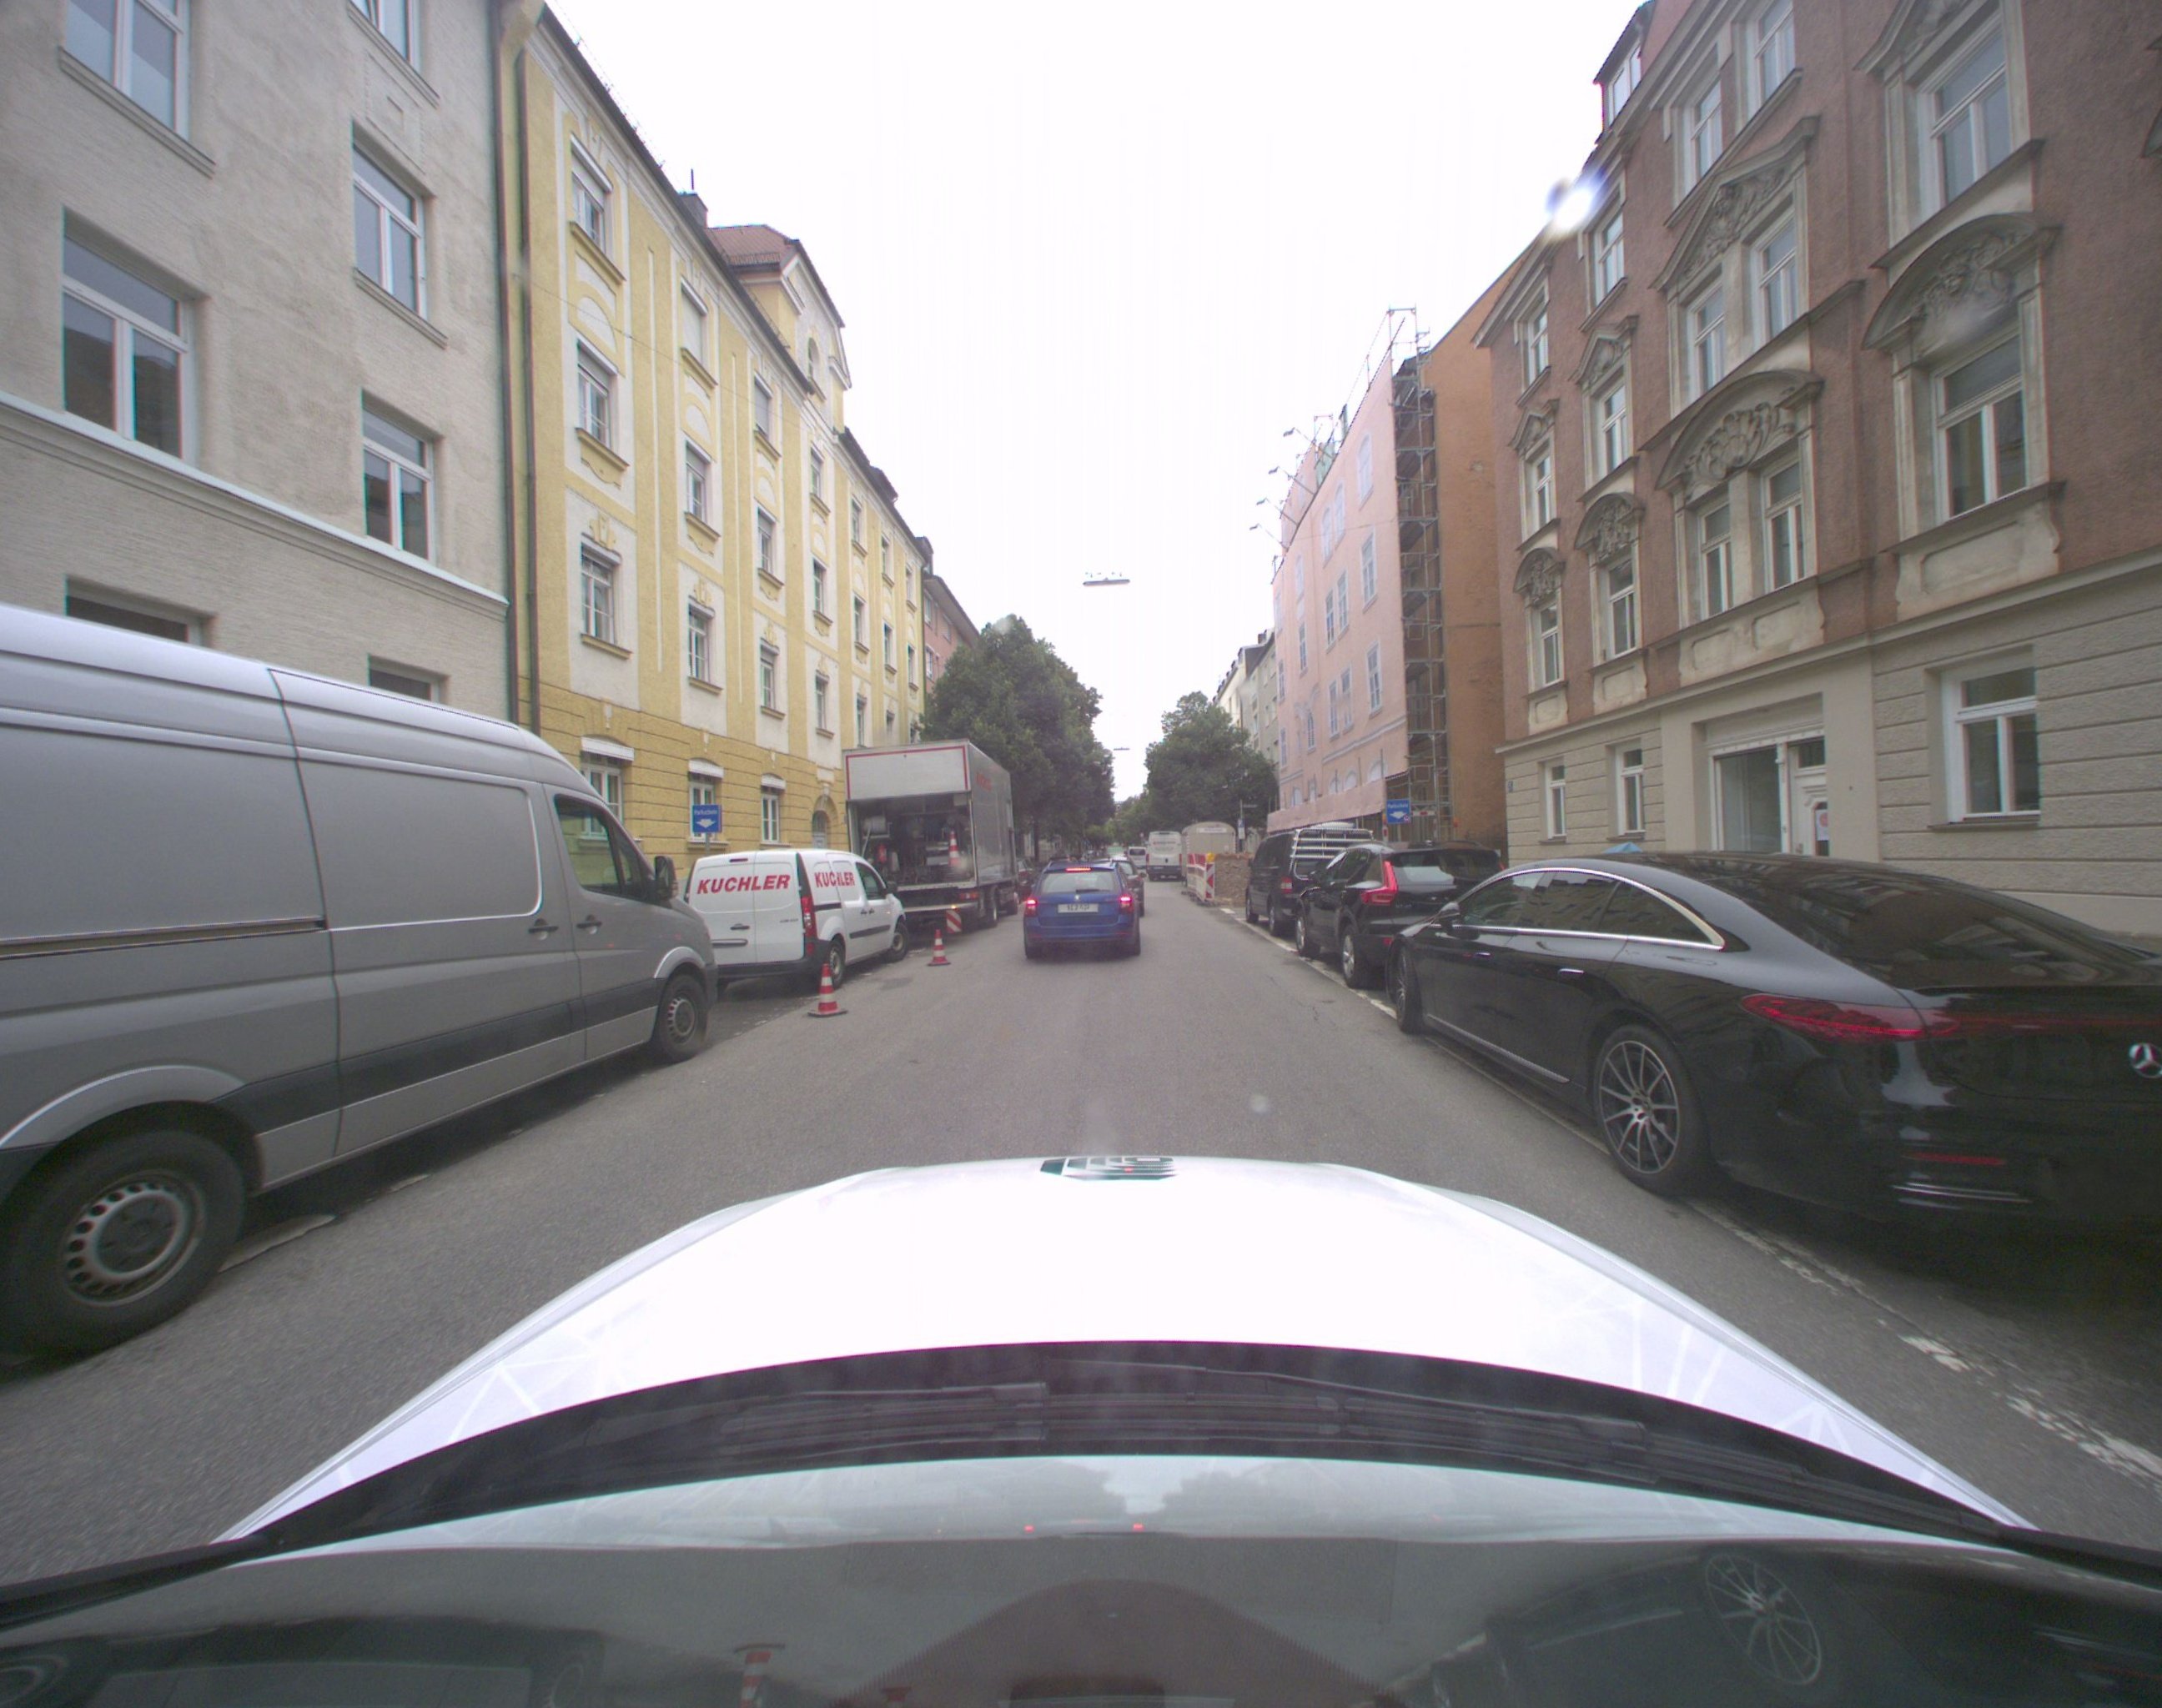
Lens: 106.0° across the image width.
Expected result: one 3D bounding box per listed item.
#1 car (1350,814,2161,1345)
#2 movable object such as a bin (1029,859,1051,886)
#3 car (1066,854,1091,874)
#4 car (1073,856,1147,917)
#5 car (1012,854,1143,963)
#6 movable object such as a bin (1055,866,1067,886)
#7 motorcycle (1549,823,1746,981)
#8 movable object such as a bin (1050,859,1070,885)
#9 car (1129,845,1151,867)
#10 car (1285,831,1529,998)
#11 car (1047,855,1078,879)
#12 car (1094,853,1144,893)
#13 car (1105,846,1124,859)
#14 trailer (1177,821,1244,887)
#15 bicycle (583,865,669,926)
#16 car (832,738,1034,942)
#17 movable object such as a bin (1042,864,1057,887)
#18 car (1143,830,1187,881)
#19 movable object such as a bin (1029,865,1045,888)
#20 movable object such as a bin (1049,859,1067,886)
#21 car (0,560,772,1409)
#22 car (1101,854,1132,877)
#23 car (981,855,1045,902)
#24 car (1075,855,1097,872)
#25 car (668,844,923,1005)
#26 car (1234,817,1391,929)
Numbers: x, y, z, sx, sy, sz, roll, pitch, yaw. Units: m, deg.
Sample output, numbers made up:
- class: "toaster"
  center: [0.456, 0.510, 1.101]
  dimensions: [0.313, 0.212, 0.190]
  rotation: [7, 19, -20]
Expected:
- class: "car"
  center: [3.506, 0.654, 5.206]
  dimensions: [1.923, 1.553, 5.640]
  rotation: [-1, 0, 2]
- class: "movable object such as a bin"
  center: [-2.248, 1.005, 44.907]
  dimensions: [1.078, 1.376, 1.083]
  rotation: [-4, 0, -1]
- class: "car"
  center: [-0.198, 0.781, 63.487]
  dimensions: [1.805, 1.478, 4.001]
  rotation: [-1, 0, 1]
- class: "car"
  center: [0.818, 0.783, 21.317]
  dimensions: [1.733, 1.422, 3.668]
  rotation: [-1, 0, 4]
- class: "car"
  center: [0.115, 0.773, 13.535]
  dimensions: [1.781, 1.460, 4.319]
  rotation: [-2, 0, 4]
- class: "movable object such as a bin"
  center: [-1.090, 1.170, 44.085]
  dimensions: [0.545, 1.020, 0.636]
  rotation: [-4, 0, 0]
- class: "motorcycle"
  center: [6.060, 0.468, 8.892]
  dimensions: [0.867, 1.505, 2.000]
  rotation: [-2, 0, 5]
- class: "movable object such as a bin"
  center: [-1.199, 1.021, 46.046]
  dimensions: [1.017, 1.376, 1.103]
  rotation: [-4, 0, -1]
- class: "car"
  center: [5.134, 0.185, 71.481]
  dimensions: [1.859, 1.870, 4.352]
  rotation: [0, 0, 4]
- class: "car"
  center: [3.899, 0.633, 10.579]
  dimensions: [1.686, 1.676, 4.413]
  rotation: [1, 0, 4]
- class: "car"
  center: [-1.139, 0.819, 52.777]
  dimensions: [1.805, 1.478, 4.001]
  rotation: [-1, 0, 1]
- class: "car"
  center: [1.506, 0.706, 32.319]
  dimensions: [1.860, 1.454, 4.350]
  rotation: [0, 0, 2]
- class: "car"
  center: [4.196, -0.190, 101.780]
  dimensions: [2.002, 1.653, 4.344]
  rotation: [-1, 0, -2]
- class: "trailer"
  center: [6.017, 0.013, 38.730]
  dimensions: [2.491, 2.840, 6.907]
  rotation: [-1, -1, 3]
- class: "bicycle"
  center: [-8.871, 0.773, 15.949]
  dimensions: [0.605, 1.104, 1.767]
  rotation: [-1, -1, 3]
- class: "car"
  center: [-3.103, -0.255, 20.012]
  dimensions: [2.801, 3.817, 8.730]
  rotation: [-2, 0, 3]
- class: "movable object such as a bin"
  center: [-1.709, 1.169, 44.050]
  dimensions: [0.709, 1.148, 0.636]
  rotation: [-4, 0, 0]
- class: "car"
  center: [4.804, 0.092, 45.890]
  dimensions: [2.100, 2.664, 5.514]
  rotation: [0, -1, 9]
- class: "movable object such as a bin"
  center: [-2.376, 1.212, 44.023]
  dimensions: [0.718, 1.138, 0.658]
  rotation: [-4, 0, 0]
- class: "movable object such as a bin"
  center: [-1.252, 1.007, 44.948]
  dimensions: [0.915, 1.376, 1.079]
  rotation: [-4, 0, -1]
- class: "car"
  center: [-4.239, 0.456, 4.262]
  dimensions: [2.047, 2.587, 6.882]
  rotation: [-6, 0, 3]
- class: "car"
  center: [2.322, 0.693, 52.508]
  dimensions: [1.859, 1.348, 4.351]
  rotation: [0, 0, 3]
- class: "car"
  center: [-2.568, 0.894, 31.671]
  dimensions: [1.777, 1.628, 4.190]
  rotation: [-3, 0, 4]
- class: "car"
  center: [0.475, 0.881, 75.520]
  dimensions: [1.804, 1.478, 4.004]
  rotation: [-1, 0, 3]
- class: "car"
  center: [-3.762, 0.834, 11.674]
  dimensions: [1.755, 1.779, 4.332]
  rotation: [-4, 0, 4]
- class: "car"
  center: [4.453, 0.440, 16.589]
  dimensions: [2.073, 1.921, 5.145]
  rotation: [-1, -3, 4]
